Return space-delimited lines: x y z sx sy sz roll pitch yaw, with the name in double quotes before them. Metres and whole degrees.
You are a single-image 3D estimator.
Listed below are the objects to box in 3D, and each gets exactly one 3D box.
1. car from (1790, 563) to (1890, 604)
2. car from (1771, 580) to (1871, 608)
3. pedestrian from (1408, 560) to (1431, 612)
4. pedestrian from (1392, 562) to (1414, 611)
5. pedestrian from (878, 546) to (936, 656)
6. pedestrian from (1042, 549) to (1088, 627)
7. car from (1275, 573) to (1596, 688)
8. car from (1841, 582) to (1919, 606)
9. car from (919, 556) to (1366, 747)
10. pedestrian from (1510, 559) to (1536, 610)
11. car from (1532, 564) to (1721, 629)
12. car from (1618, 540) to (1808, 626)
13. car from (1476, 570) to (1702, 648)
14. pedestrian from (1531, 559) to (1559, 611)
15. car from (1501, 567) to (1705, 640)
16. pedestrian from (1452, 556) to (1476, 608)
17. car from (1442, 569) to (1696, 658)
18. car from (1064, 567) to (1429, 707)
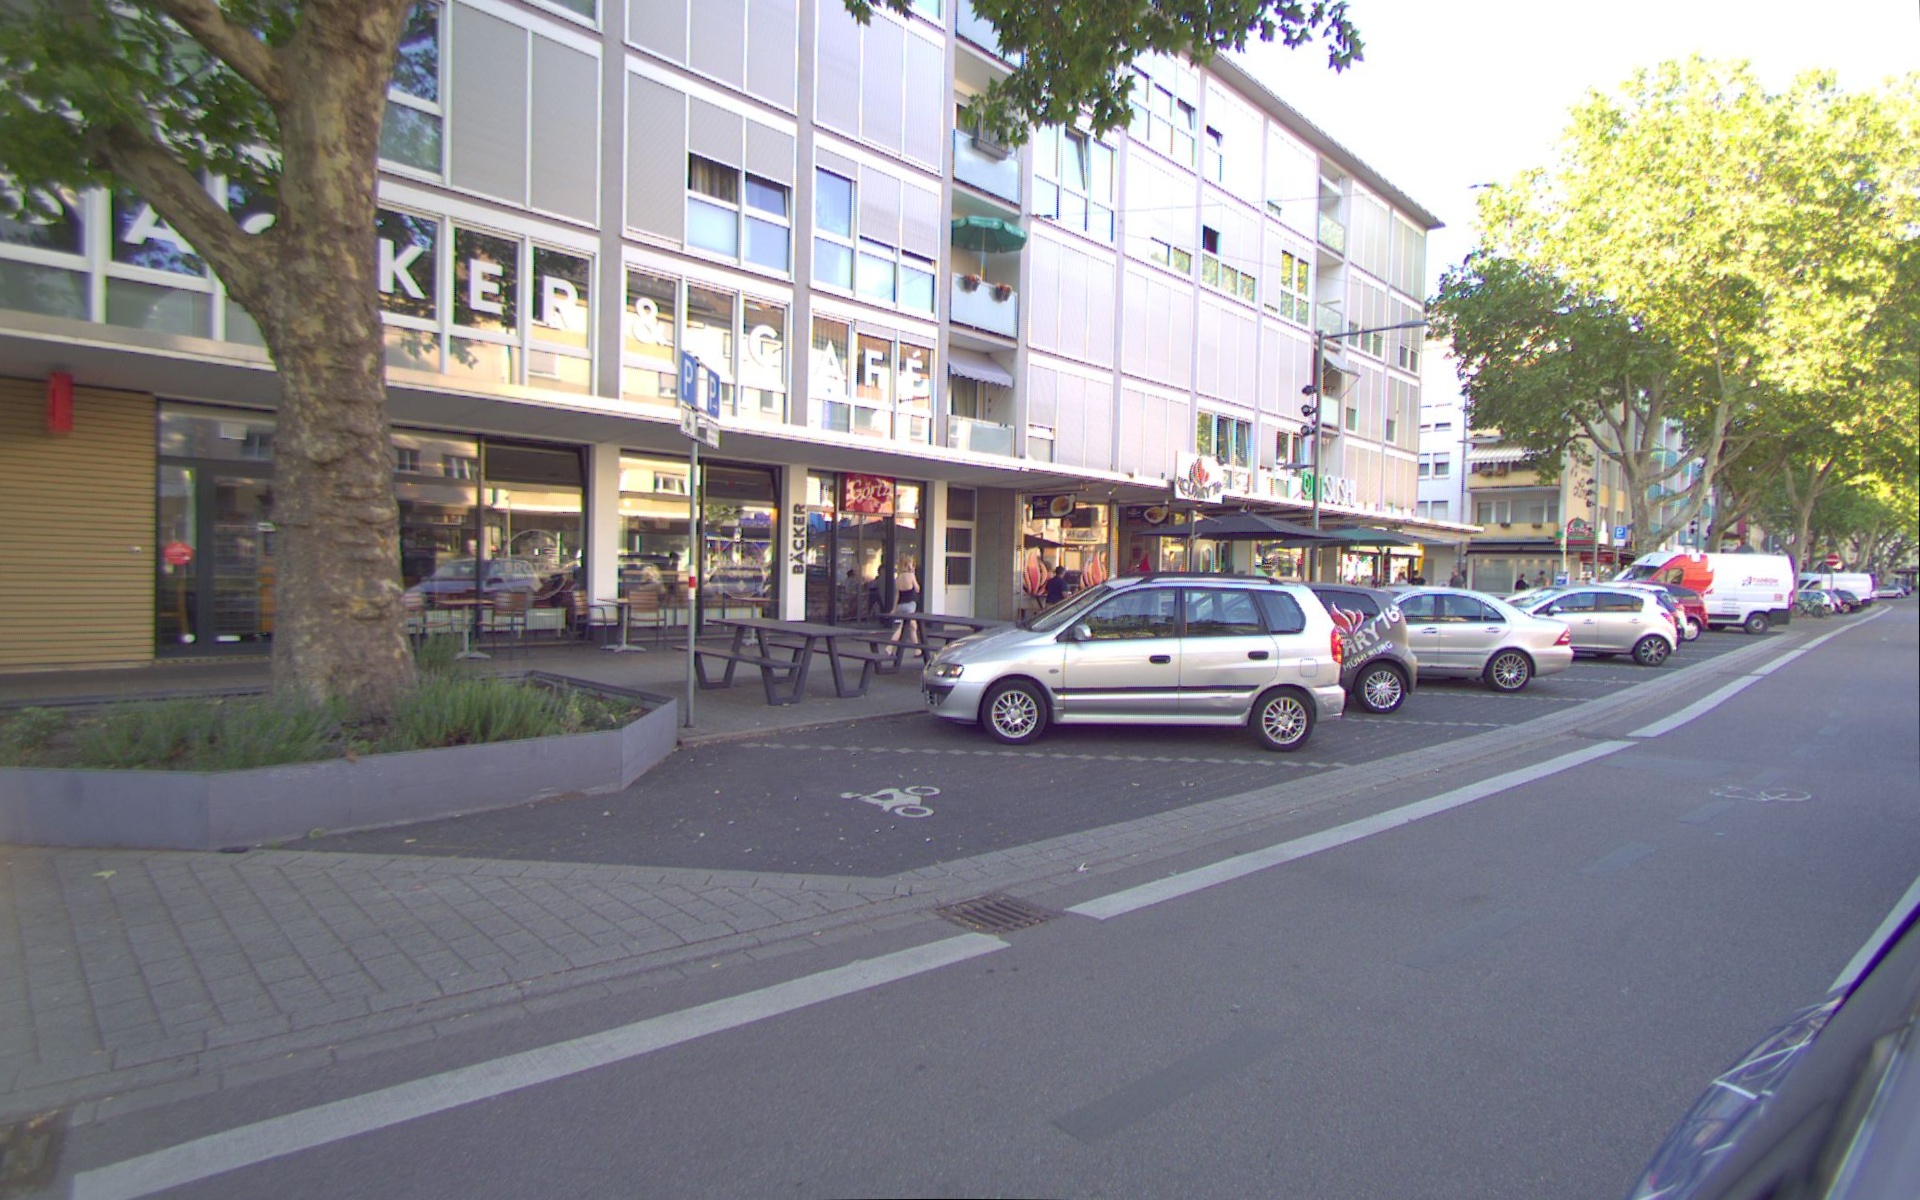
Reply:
"car" 56.552 -1.079 65.083 4.512 2.499 1.977 1 2 3
"car" 48.040 -0.354 56.519 3.864 1.422 1.782 1 2 3
"pedestrian" 15.536 -0.484 34.216 0.544 1.741 0.450 2 2 45
"pedestrian" 15.146 -0.477 34.604 0.536 1.660 0.470 2 2 45
"pedestrian" -0.788 -0.001 15.066 0.559 1.596 0.632 2 2 44
"pedestrian" 2.221 -0.259 21.405 0.757 1.602 0.583 0 2 -39
"car" 6.829 0.401 14.822 3.867 1.418 1.598 2 3 1
"car" 56.231 -0.381 61.376 3.864 1.350 1.782 1 2 3
"car" 1.595 0.435 9.804 3.906 1.560 1.679 2 3 -3
"pedestrian" 22.683 -0.627 40.778 0.746 2.000 0.566 2 2 45
"car" 18.074 -0.146 27.652 3.888 1.445 1.669 4 5 17
"car" 23.760 -0.553 32.063 4.514 2.525 1.675 2 1 5
"car" 13.963 0.151 22.722 3.886 1.446 1.670 3 3 16
"pedestrian" 23.188 -0.605 40.126 0.746 2.038 0.752 2 2 45
"car" 15.917 0.038 25.282 3.888 1.445 1.669 4 5 17
"pedestrian" 19.846 -0.715 39.876 0.739 2.038 0.555 2 2 23
"car" 11.784 0.233 19.795 3.871 1.446 1.559 3 3 4
"car" 3.352 0.403 12.338 3.864 1.446 1.679 2 3 -3
